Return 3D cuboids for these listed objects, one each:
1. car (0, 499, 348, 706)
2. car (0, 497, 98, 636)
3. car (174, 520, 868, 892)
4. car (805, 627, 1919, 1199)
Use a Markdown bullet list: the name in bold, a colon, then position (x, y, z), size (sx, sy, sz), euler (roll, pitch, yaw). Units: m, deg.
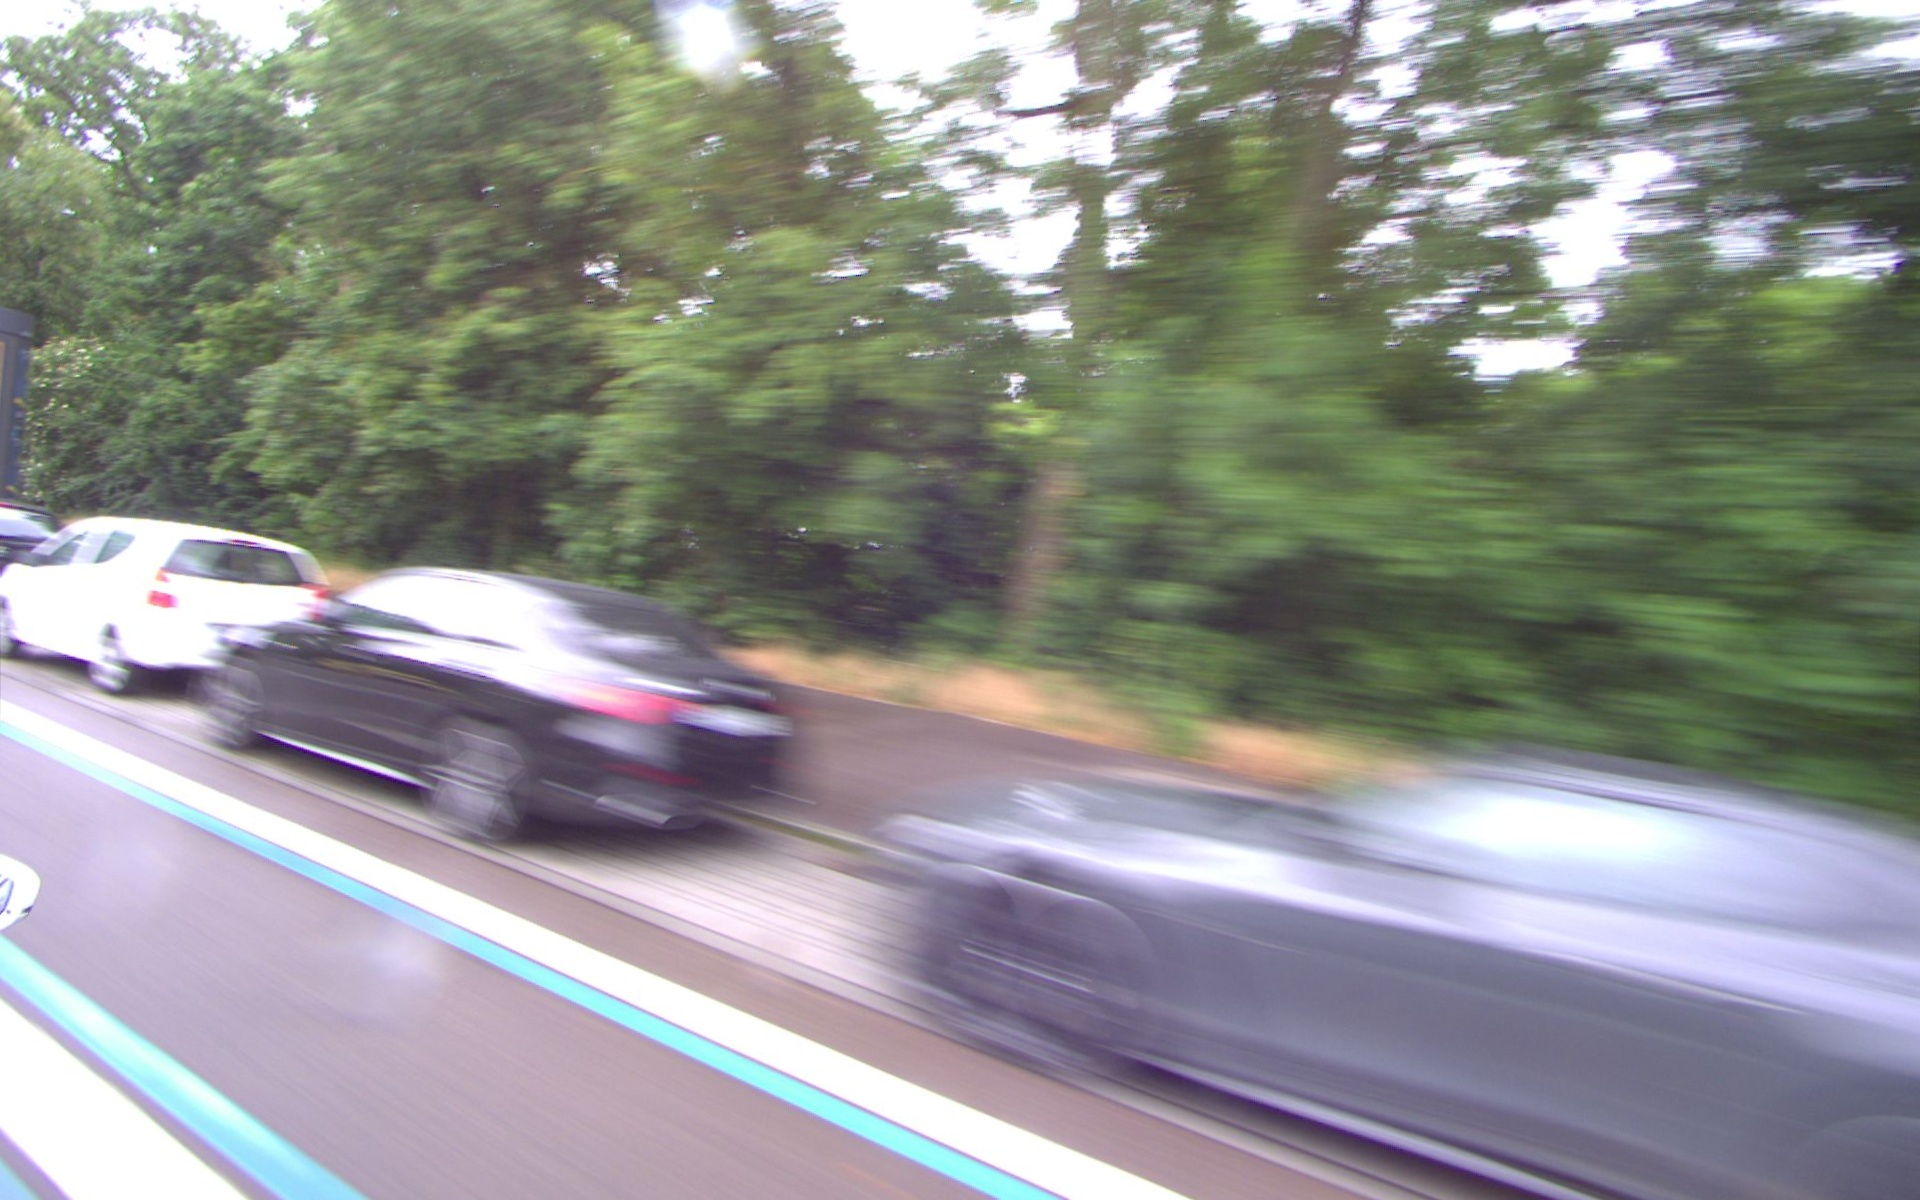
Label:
- **car**: position (-7.686, -0.016, 9.546), size (3.614, 1.477, 1.563), euler (7, -1, 30)
- **car**: position (-12.424, -0.607, 12.342), size (3.836, 1.481, 1.662), euler (7, -2, 33)
- **car**: position (-3.115, 0.488, 6.792), size (4.672, 1.472, 1.859), euler (7, -1, 32)
- **car**: position (1.787, 1.117, 3.706), size (4.310, 1.415, 1.857), euler (7, -2, 29)
